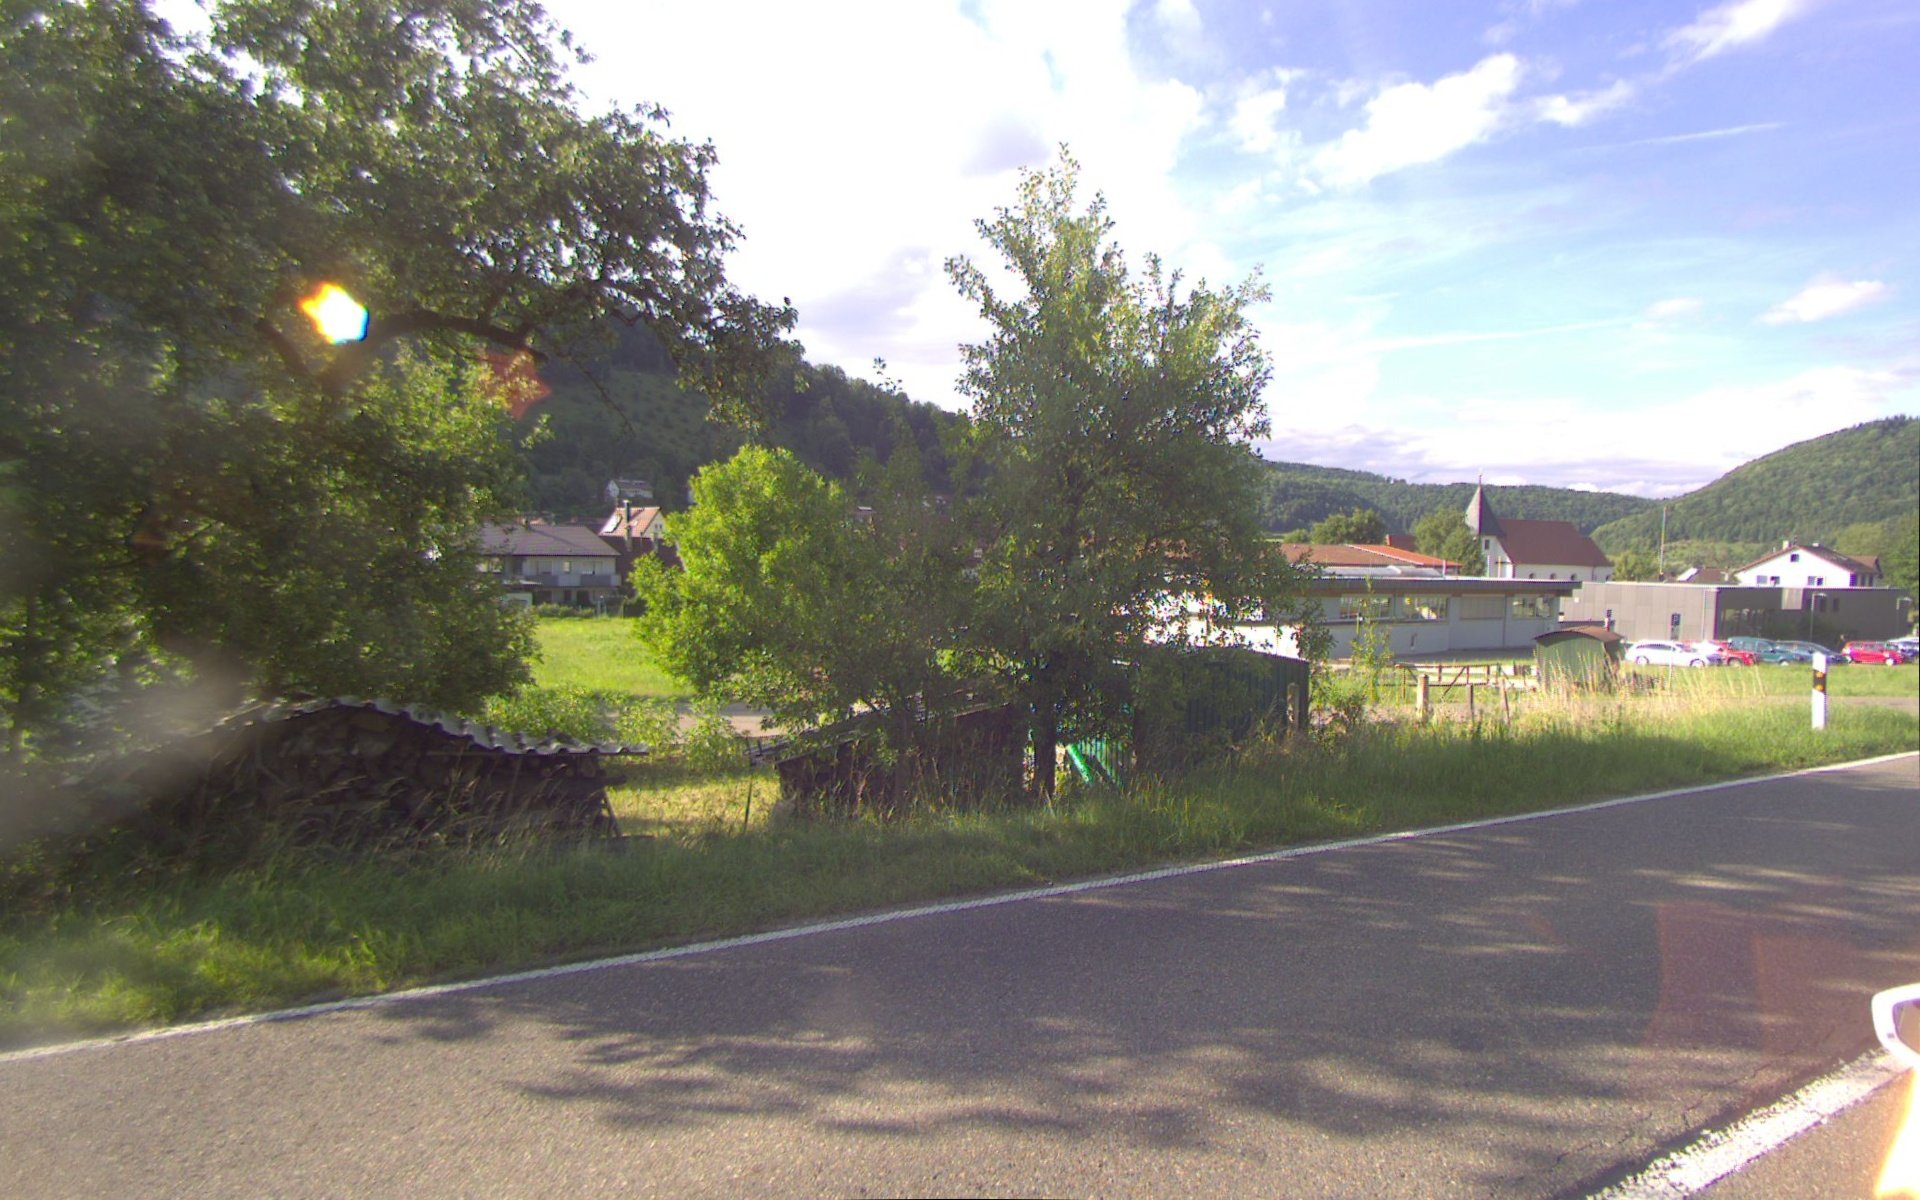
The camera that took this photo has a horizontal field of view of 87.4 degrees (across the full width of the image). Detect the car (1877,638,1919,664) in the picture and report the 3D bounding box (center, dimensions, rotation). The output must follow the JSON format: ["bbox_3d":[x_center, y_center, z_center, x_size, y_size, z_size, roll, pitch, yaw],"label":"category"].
[{"bbox_3d":[69.473,3.728,72.884,1.979,1.733,3.964,2,0,-33],"label":"car"}]

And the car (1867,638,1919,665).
[{"bbox_3d":[66.637,3.627,70.569,1.979,1.733,3.964,2,0,-33],"label":"car"}]

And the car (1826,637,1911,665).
[{"bbox_3d":[62.343,3.487,68.968,1.979,1.733,3.964,2,0,-33],"label":"car"}]

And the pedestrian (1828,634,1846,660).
[{"bbox_3d":[70.278,3.772,80.478,0.962,2.040,0.821,2,0,-31],"label":"pedestrian"}]

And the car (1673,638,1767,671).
[{"bbox_3d":[44.614,3.175,58.998,1.979,1.733,3.964,2,0,-33],"label":"car"}]

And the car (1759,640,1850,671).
[{"bbox_3d":[53.289,3.467,63.429,1.979,1.733,3.964,2,0,-33],"label":"car"}]

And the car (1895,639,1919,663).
[{"bbox_3d":[72.284,3.823,74.505,1.979,1.733,3.964,2,0,-33],"label":"car"}]

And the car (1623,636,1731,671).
[{"bbox_3d":[41.598,3.081,58.409,1.979,1.733,4.703,2,0,-33],"label":"car"}]

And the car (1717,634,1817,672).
[{"bbox_3d":[49.617,3.230,61.812,1.979,2.034,4.381,2,0,-33],"label":"car"}]
